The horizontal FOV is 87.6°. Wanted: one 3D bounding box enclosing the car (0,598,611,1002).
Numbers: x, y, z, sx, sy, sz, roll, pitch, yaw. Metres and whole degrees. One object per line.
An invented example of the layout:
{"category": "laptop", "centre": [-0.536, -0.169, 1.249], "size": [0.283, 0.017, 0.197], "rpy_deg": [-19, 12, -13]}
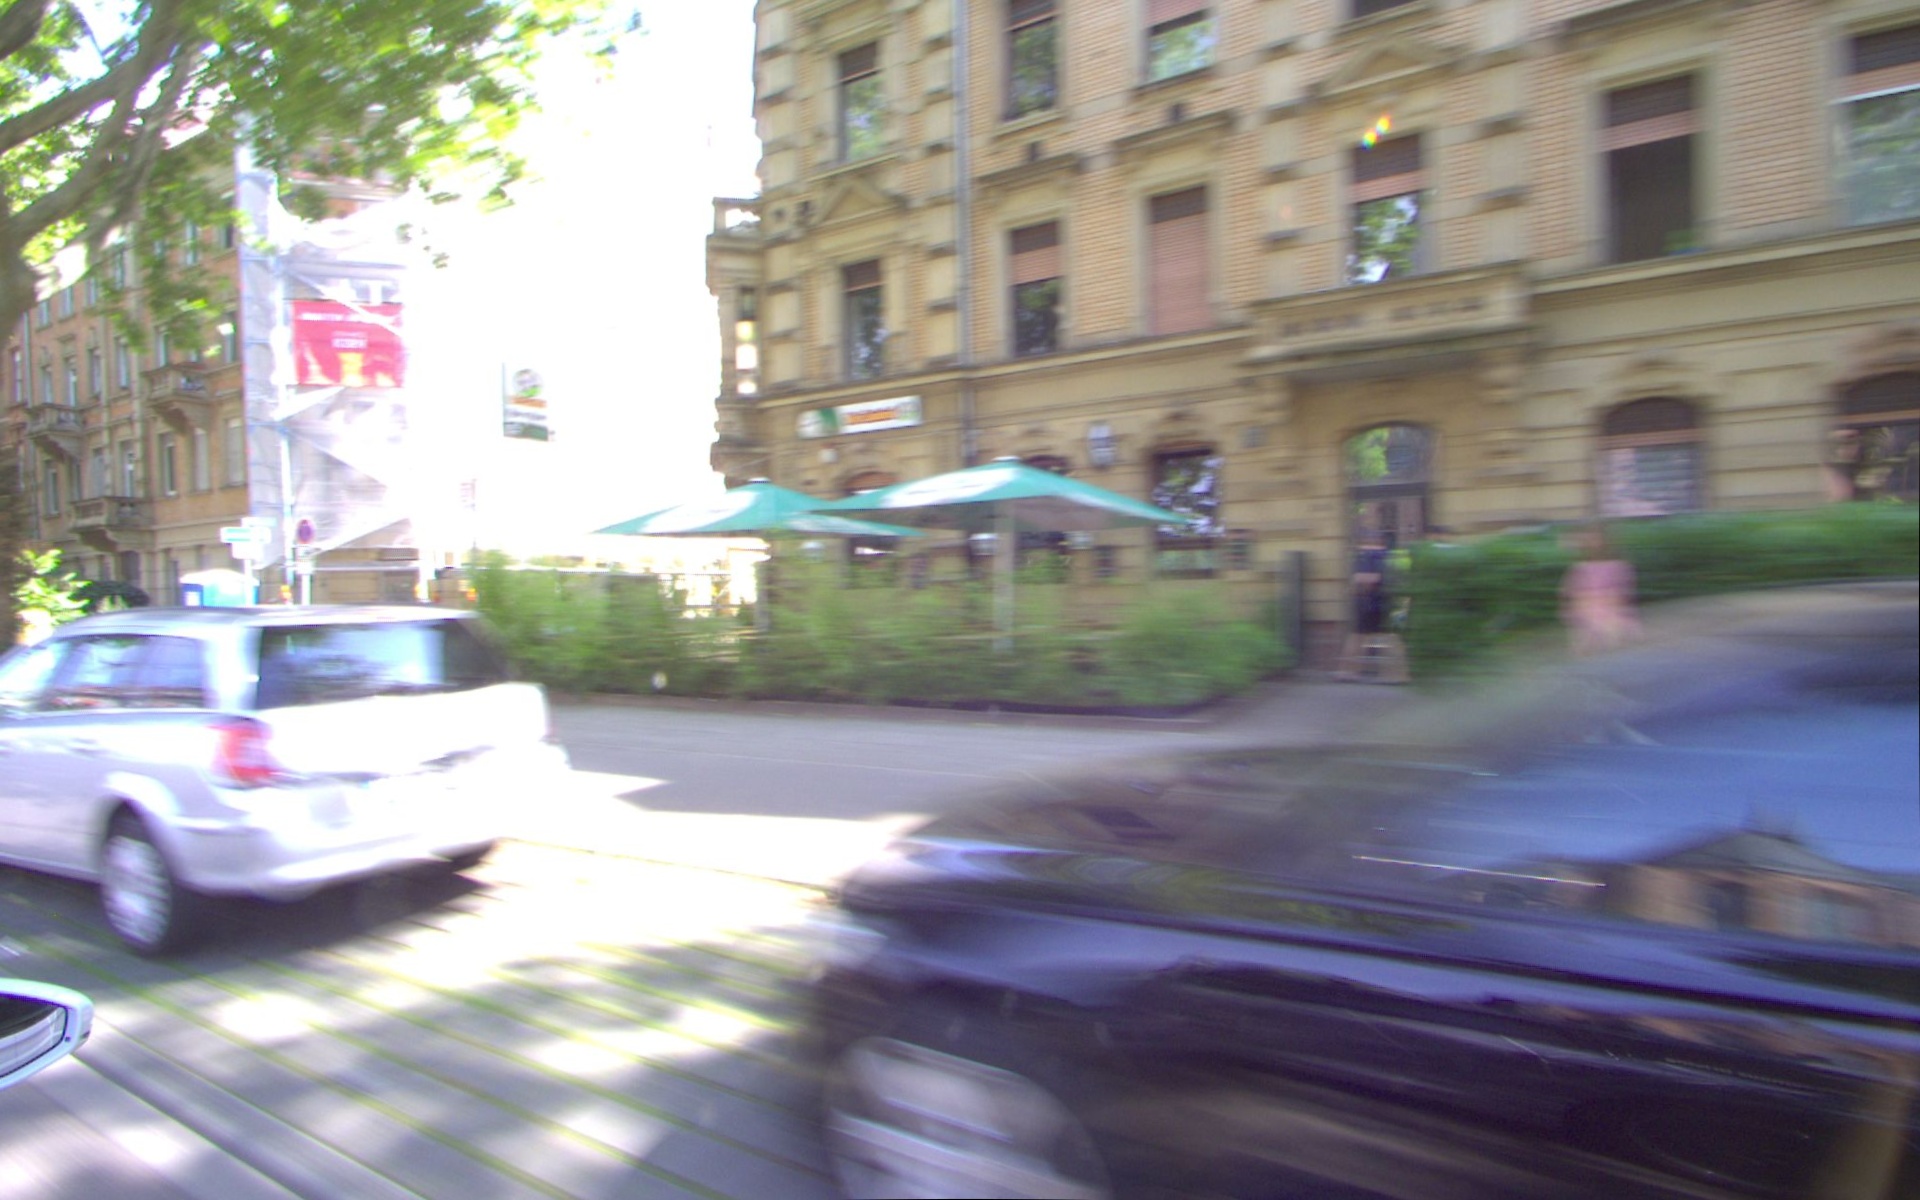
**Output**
{"category": "car", "centre": [-4.287, 0.796, 5.666], "size": [4.422, 1.528, 1.832], "rpy_deg": [-1, 1, 28]}

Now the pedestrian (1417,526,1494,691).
{"category": "pedestrian", "centre": [5.662, 0.083, 11.488], "size": [0.726, 1.810, 0.849], "rpy_deg": [-1, 3, 23]}

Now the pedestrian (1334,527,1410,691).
{"category": "pedestrian", "centre": [4.936, 0.094, 11.984], "size": [0.727, 1.877, 0.848], "rpy_deg": [0, 3, 29]}

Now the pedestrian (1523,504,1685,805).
{"category": "pedestrian", "centre": [4.170, 0.326, 6.537], "size": [0.840, 1.810, 0.734], "rpy_deg": [0, 3, 30]}

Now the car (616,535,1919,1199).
{"category": "car", "centre": [1.632, 0.678, 1.915], "size": [4.576, 1.528, 1.830], "rpy_deg": [-1, 1, 32]}
